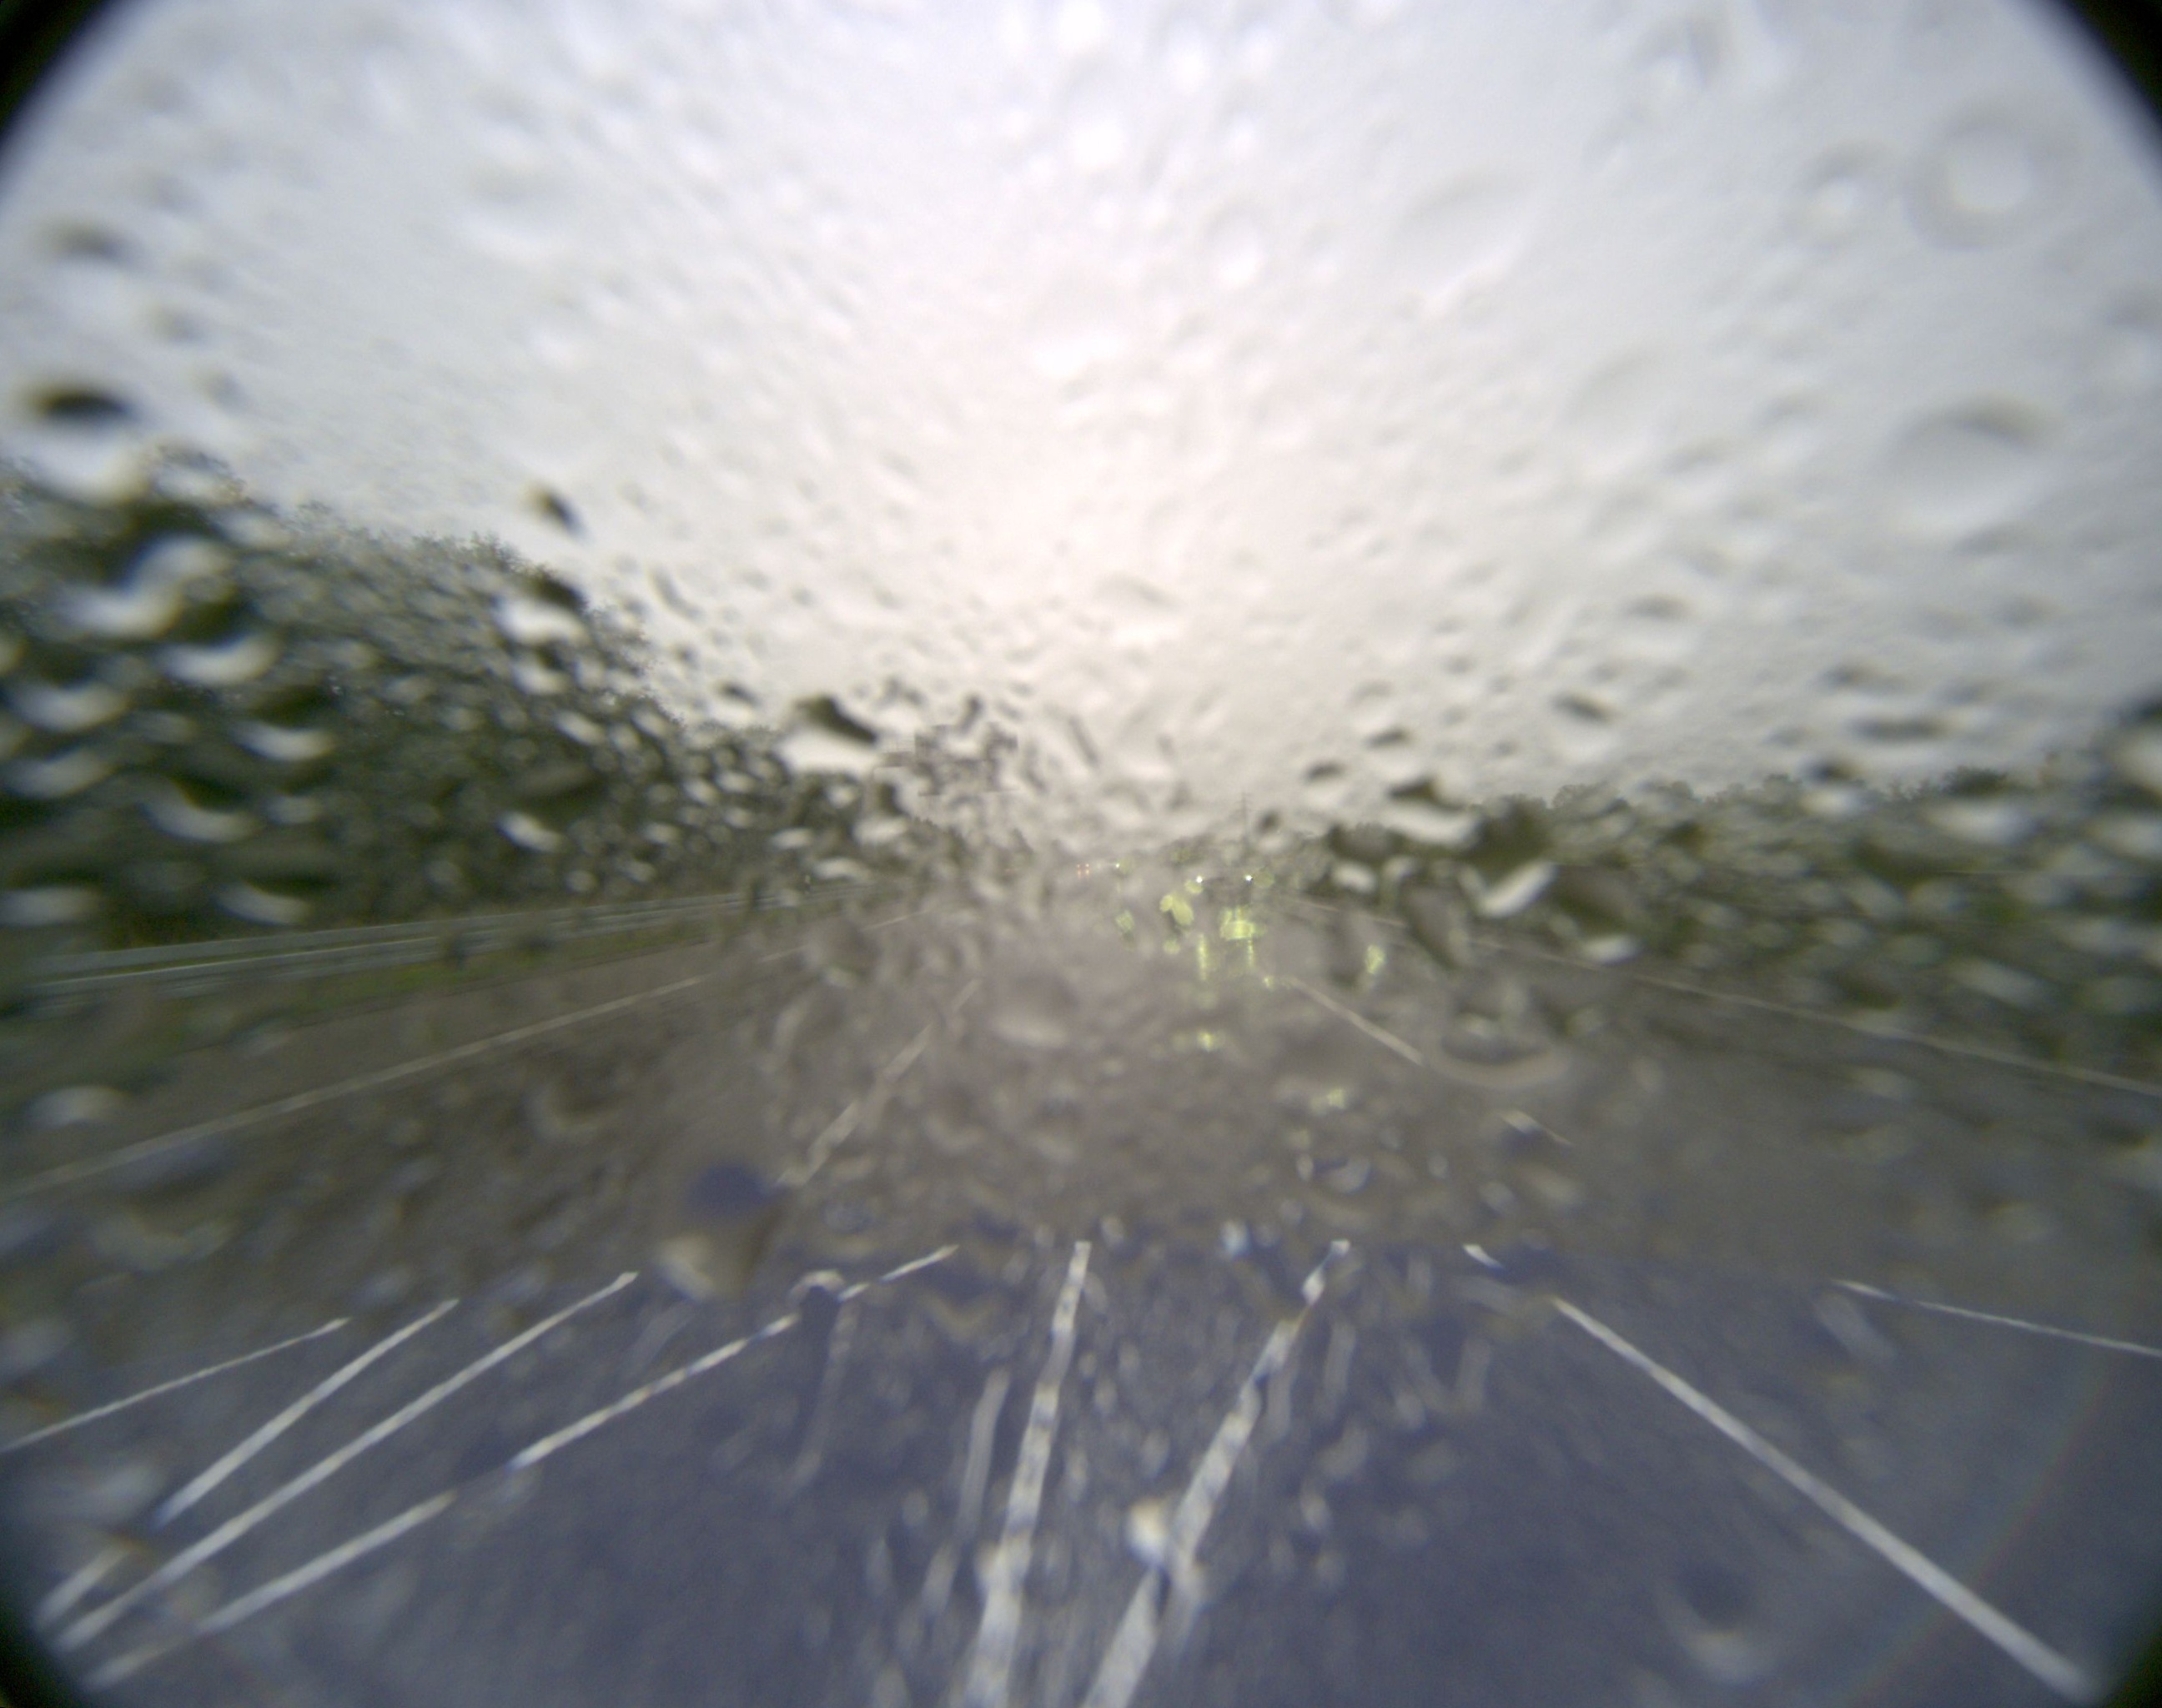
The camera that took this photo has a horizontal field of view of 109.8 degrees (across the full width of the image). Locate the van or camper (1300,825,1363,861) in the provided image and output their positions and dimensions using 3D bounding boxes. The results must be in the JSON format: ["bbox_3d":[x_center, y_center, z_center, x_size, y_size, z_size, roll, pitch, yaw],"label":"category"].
[{"bbox_3d":[23.608,-0.990,72.187,2.894,3.068,9.515,-2,0,1],"label":"van or camper"}]

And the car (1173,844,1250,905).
[{"bbox_3d":[4.207,0.600,25.169,2.046,1.763,4.501,-2,0,4],"label":"car"}]

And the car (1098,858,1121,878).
[{"bbox_3d":[2.317,1.104,61.526,1.753,1.406,4.001,-3,0,2],"label":"car"}]

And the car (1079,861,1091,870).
[{"bbox_3d":[0.686,1.759,120.888,1.753,1.205,4.001,-5,0,2],"label":"car"}]

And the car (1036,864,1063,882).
[{"bbox_3d":[-2.511,1.545,61.495,1.753,1.205,4.001,-5,0,2],"label":"car"}]

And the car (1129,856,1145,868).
[{"bbox_3d":[6.564,0.952,89.847,1.753,1.369,4.000,-2,0,2],"label":"car"}]
